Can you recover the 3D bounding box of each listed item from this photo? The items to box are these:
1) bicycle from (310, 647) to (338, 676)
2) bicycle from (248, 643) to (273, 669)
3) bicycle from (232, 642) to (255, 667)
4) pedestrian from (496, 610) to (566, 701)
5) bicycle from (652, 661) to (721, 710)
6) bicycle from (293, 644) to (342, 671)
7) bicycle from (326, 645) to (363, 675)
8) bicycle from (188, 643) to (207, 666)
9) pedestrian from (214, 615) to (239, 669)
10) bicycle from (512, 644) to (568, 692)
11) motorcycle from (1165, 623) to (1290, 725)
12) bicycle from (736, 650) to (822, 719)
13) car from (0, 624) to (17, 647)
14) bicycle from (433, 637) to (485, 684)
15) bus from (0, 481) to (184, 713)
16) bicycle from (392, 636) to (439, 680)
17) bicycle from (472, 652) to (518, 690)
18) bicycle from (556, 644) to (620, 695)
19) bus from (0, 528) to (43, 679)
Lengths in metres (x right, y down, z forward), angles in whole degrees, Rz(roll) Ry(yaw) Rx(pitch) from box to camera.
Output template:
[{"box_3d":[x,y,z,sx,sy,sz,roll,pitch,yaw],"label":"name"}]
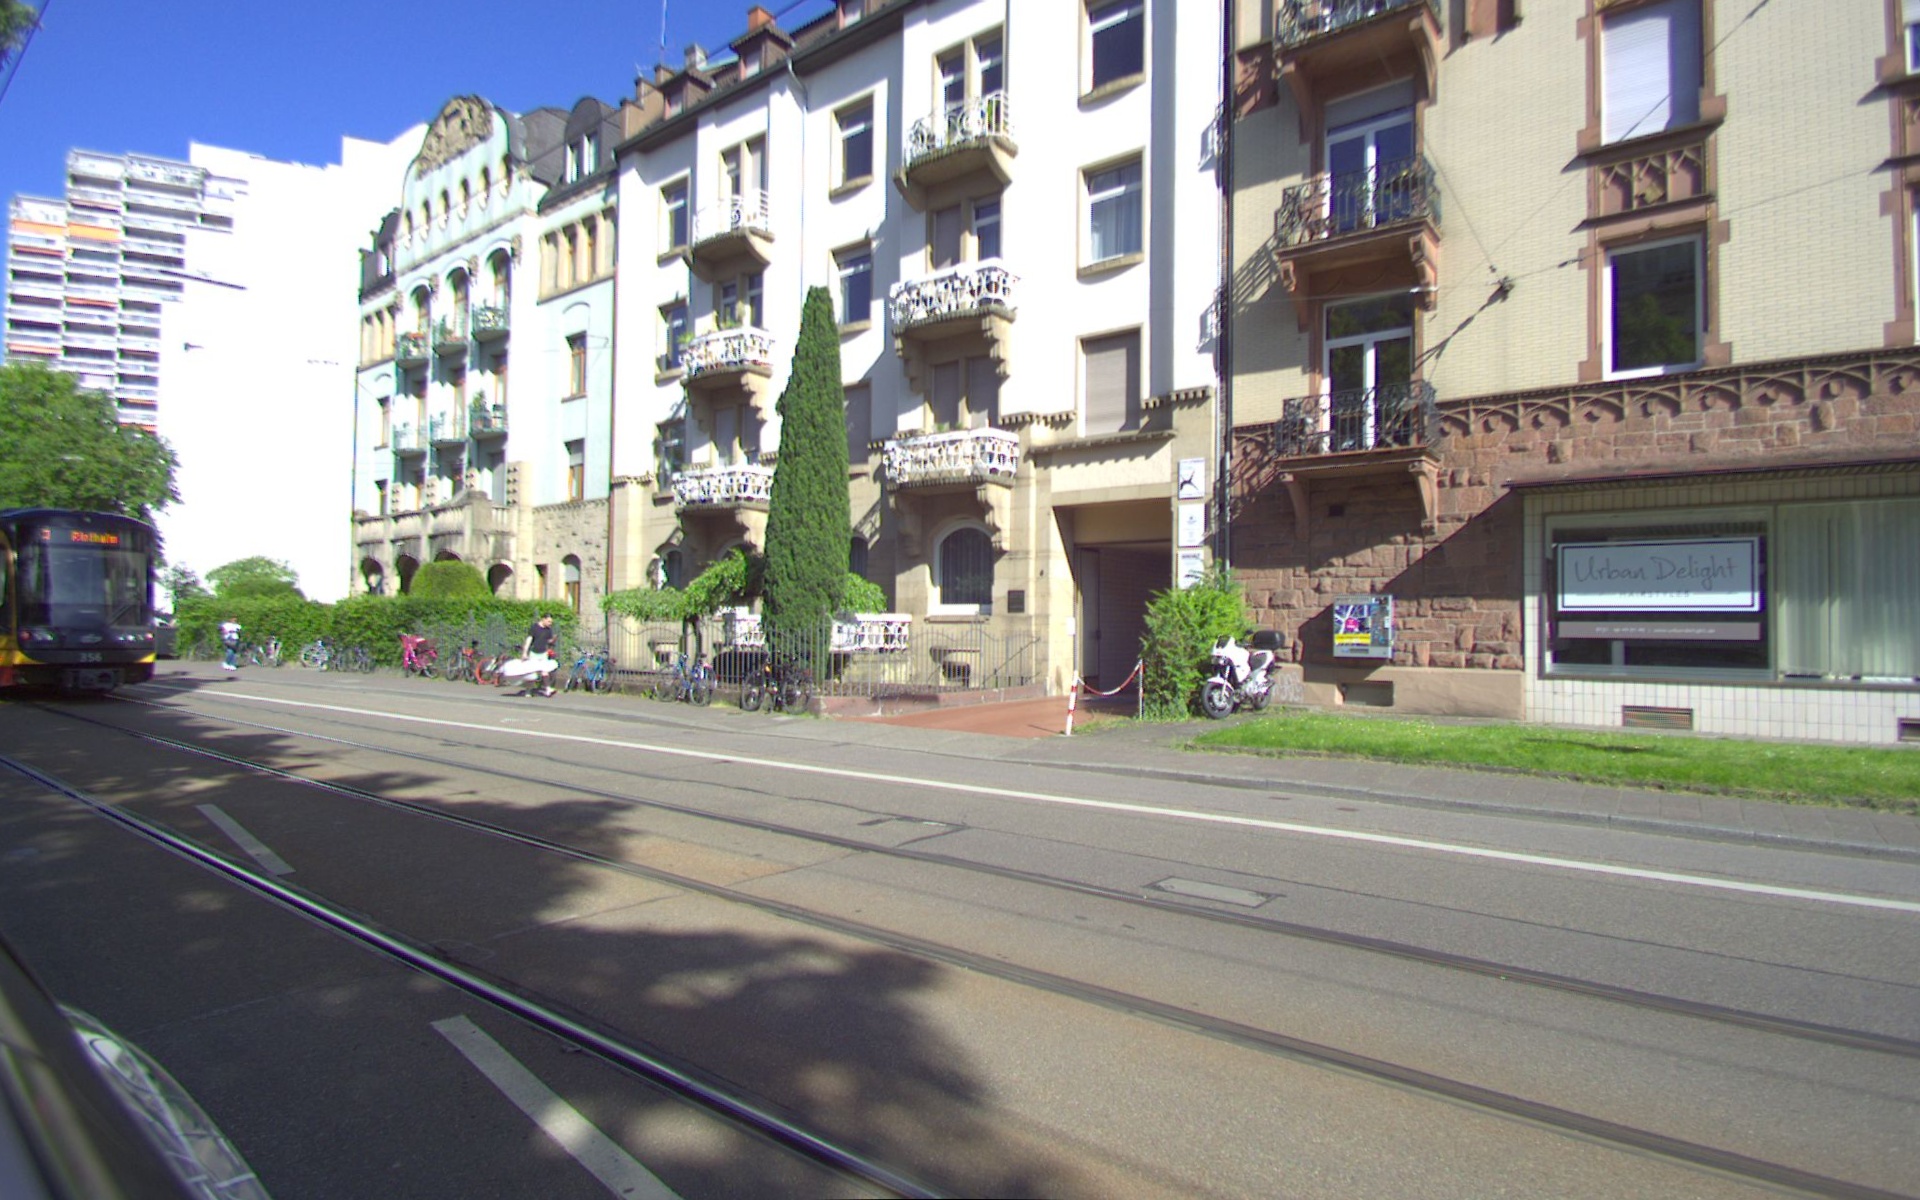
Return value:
[{"box_3d":[-18.226,1.763,28.995,1.262,0.767,0.335,0,-1,41],"label":"bicycle"},{"box_3d":[-22.153,1.754,32.050,1.262,0.767,0.314,0,-1,41],"label":"bicycle"},{"box_3d":[-23.513,1.774,33.214,1.262,0.767,0.293,0,-1,41],"label":"bicycle"},{"box_3d":[-8.293,1.047,19.570,0.870,1.640,0.858,0,3,40],"label":"pedestrian"},{"box_3d":[-4.948,1.526,18.260,1.651,0.767,0.314,0,-1,41],"label":"bicycle"},{"box_3d":[-20.112,1.783,31.697,0.297,0.799,1.246,0,-1,40],"label":"bicycle"},{"box_3d":[-17.070,1.656,28.035,1.581,0.767,0.400,0,-1,41],"label":"bicycle"},{"box_3d":[-27.243,1.934,36.152,1.262,0.767,0.293,0,-1,41],"label":"bicycle"},{"box_3d":[-22.422,1.268,30.936,0.659,1.641,0.469,0,-1,40],"label":"pedestrian"},{"box_3d":[-9.004,1.446,21.685,1.648,0.949,0.400,0,-1,41],"label":"bicycle"},{"box_3d":[4.335,1.107,16.169,0.822,1.467,3.055,0,-1,37],"label":"motorcycle"},{"box_3d":[-3.062,1.395,17.038,1.748,1.047,0.400,0,-1,41],"label":"bicycle"},{"box_3d":[-60.397,2.204,62.597,1.220,1.436,2.734,0,-1,23],"label":"car"},{"box_3d":[-11.820,1.407,23.854,1.815,1.031,0.400,0,-1,41],"label":"bicycle"},{"box_3d":[-19.856,-0.029,21.170,12.181,3.806,2.822,0,-1,38],"label":"bus"},{"box_3d":[-13.612,1.440,25.282,1.815,1.031,0.400,0,-1,41],"label":"bicycle"},{"box_3d":[-10.450,1.576,22.740,1.542,0.767,0.314,0,-1,41],"label":"bicycle"},{"box_3d":[-7.557,1.396,20.526,1.748,0.949,0.400,0,-1,41],"label":"bicycle"},{"box_3d":[-28.989,0.081,28.507,11.168,3.806,2.832,0,-1,38],"label":"bus"}]
